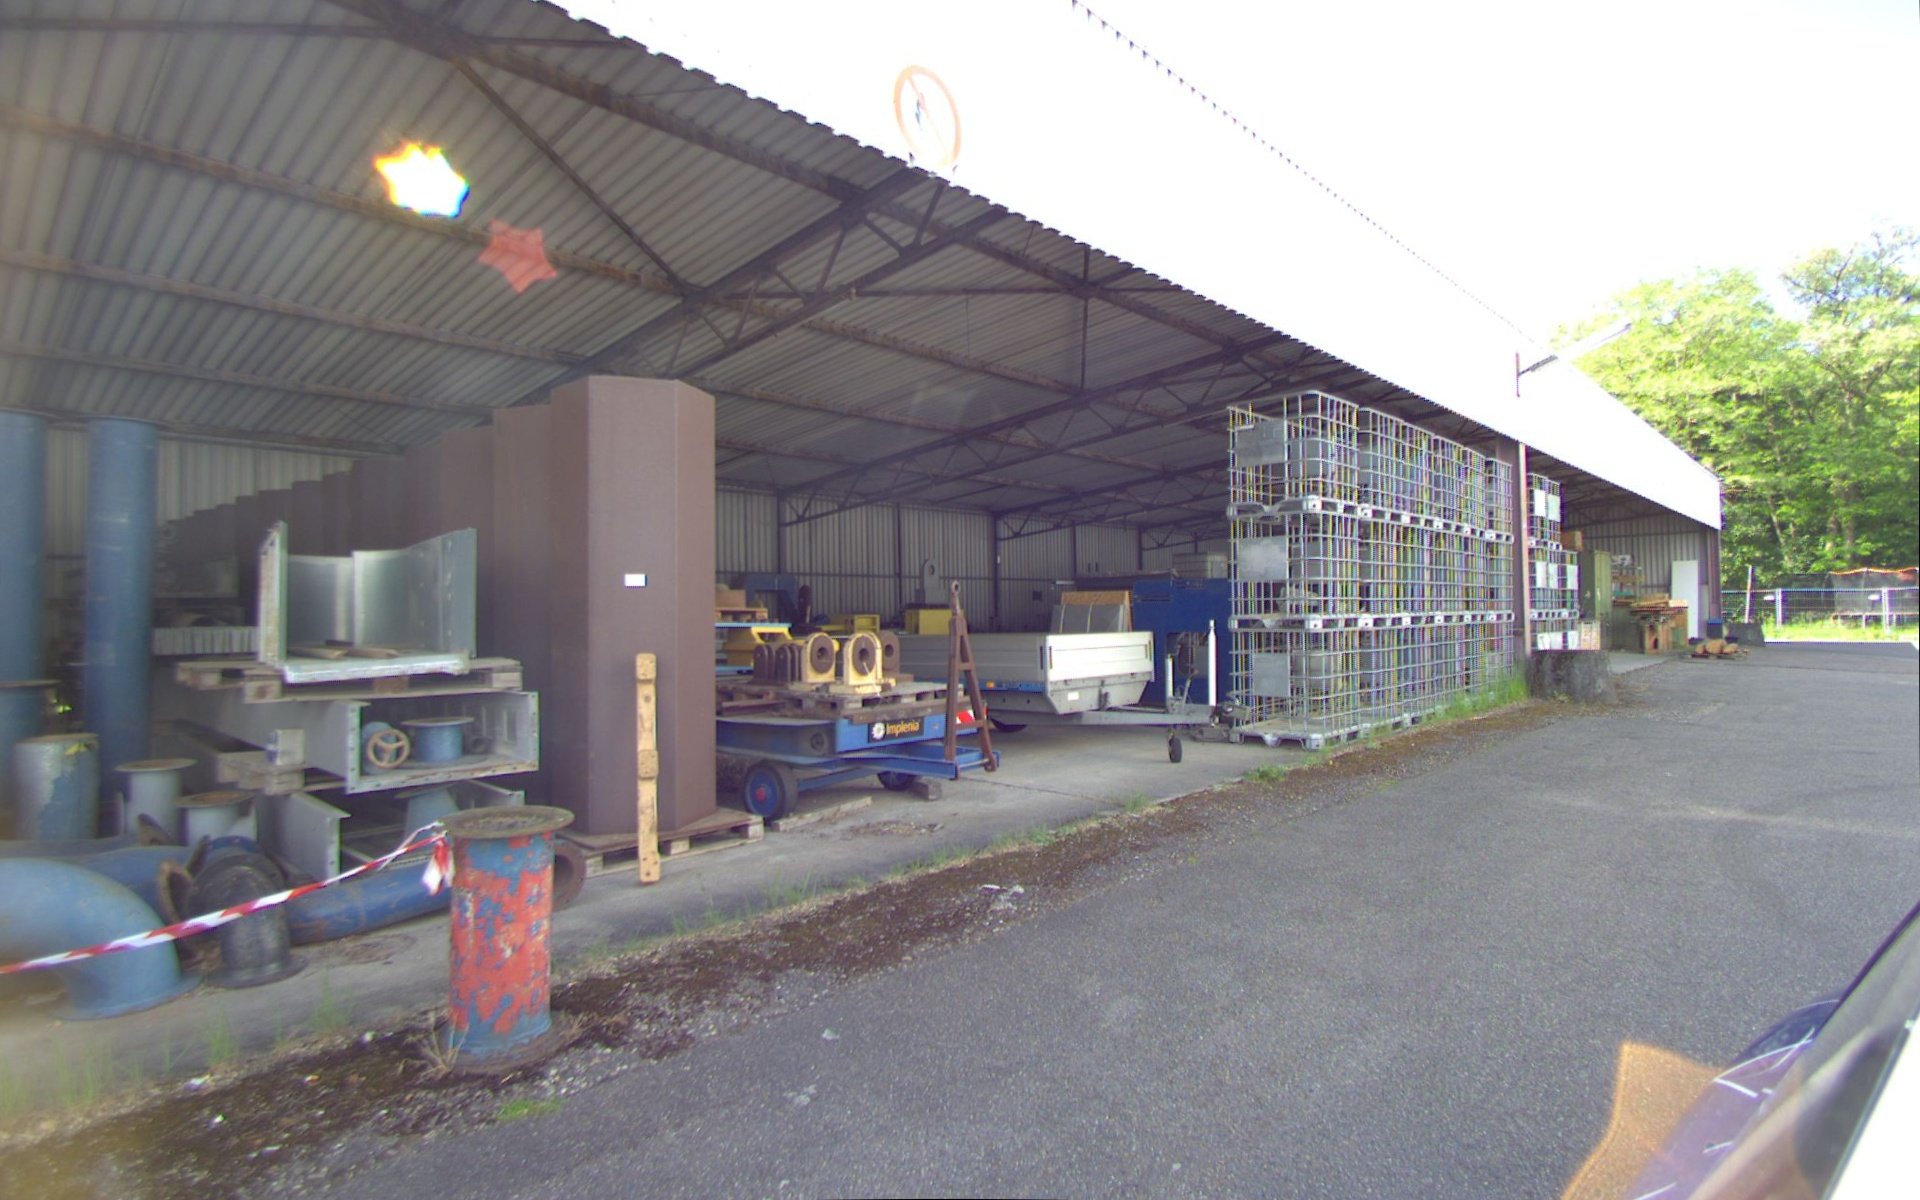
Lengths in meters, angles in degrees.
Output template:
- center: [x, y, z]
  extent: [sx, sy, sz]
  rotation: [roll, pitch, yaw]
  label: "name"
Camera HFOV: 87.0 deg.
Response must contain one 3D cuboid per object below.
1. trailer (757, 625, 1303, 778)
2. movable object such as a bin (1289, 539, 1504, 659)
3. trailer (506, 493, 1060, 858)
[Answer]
- center: [0.409, 0.855, 10.580]
  extent: [5.729, 1.147, 1.978]
  rotation: [-1, -1, 42]
  label: "trailer"
- center: [10.921, -0.007, 25.499]
  extent: [4.611, 2.757, 1.970]
  rotation: [0, -1, 42]
  label: "movable object such as a bin"
- center: [-1.693, 0.409, 8.056]
  extent: [2.013, 2.022, 4.821]
  rotation: [-1, 0, -44]
  label: "trailer"
